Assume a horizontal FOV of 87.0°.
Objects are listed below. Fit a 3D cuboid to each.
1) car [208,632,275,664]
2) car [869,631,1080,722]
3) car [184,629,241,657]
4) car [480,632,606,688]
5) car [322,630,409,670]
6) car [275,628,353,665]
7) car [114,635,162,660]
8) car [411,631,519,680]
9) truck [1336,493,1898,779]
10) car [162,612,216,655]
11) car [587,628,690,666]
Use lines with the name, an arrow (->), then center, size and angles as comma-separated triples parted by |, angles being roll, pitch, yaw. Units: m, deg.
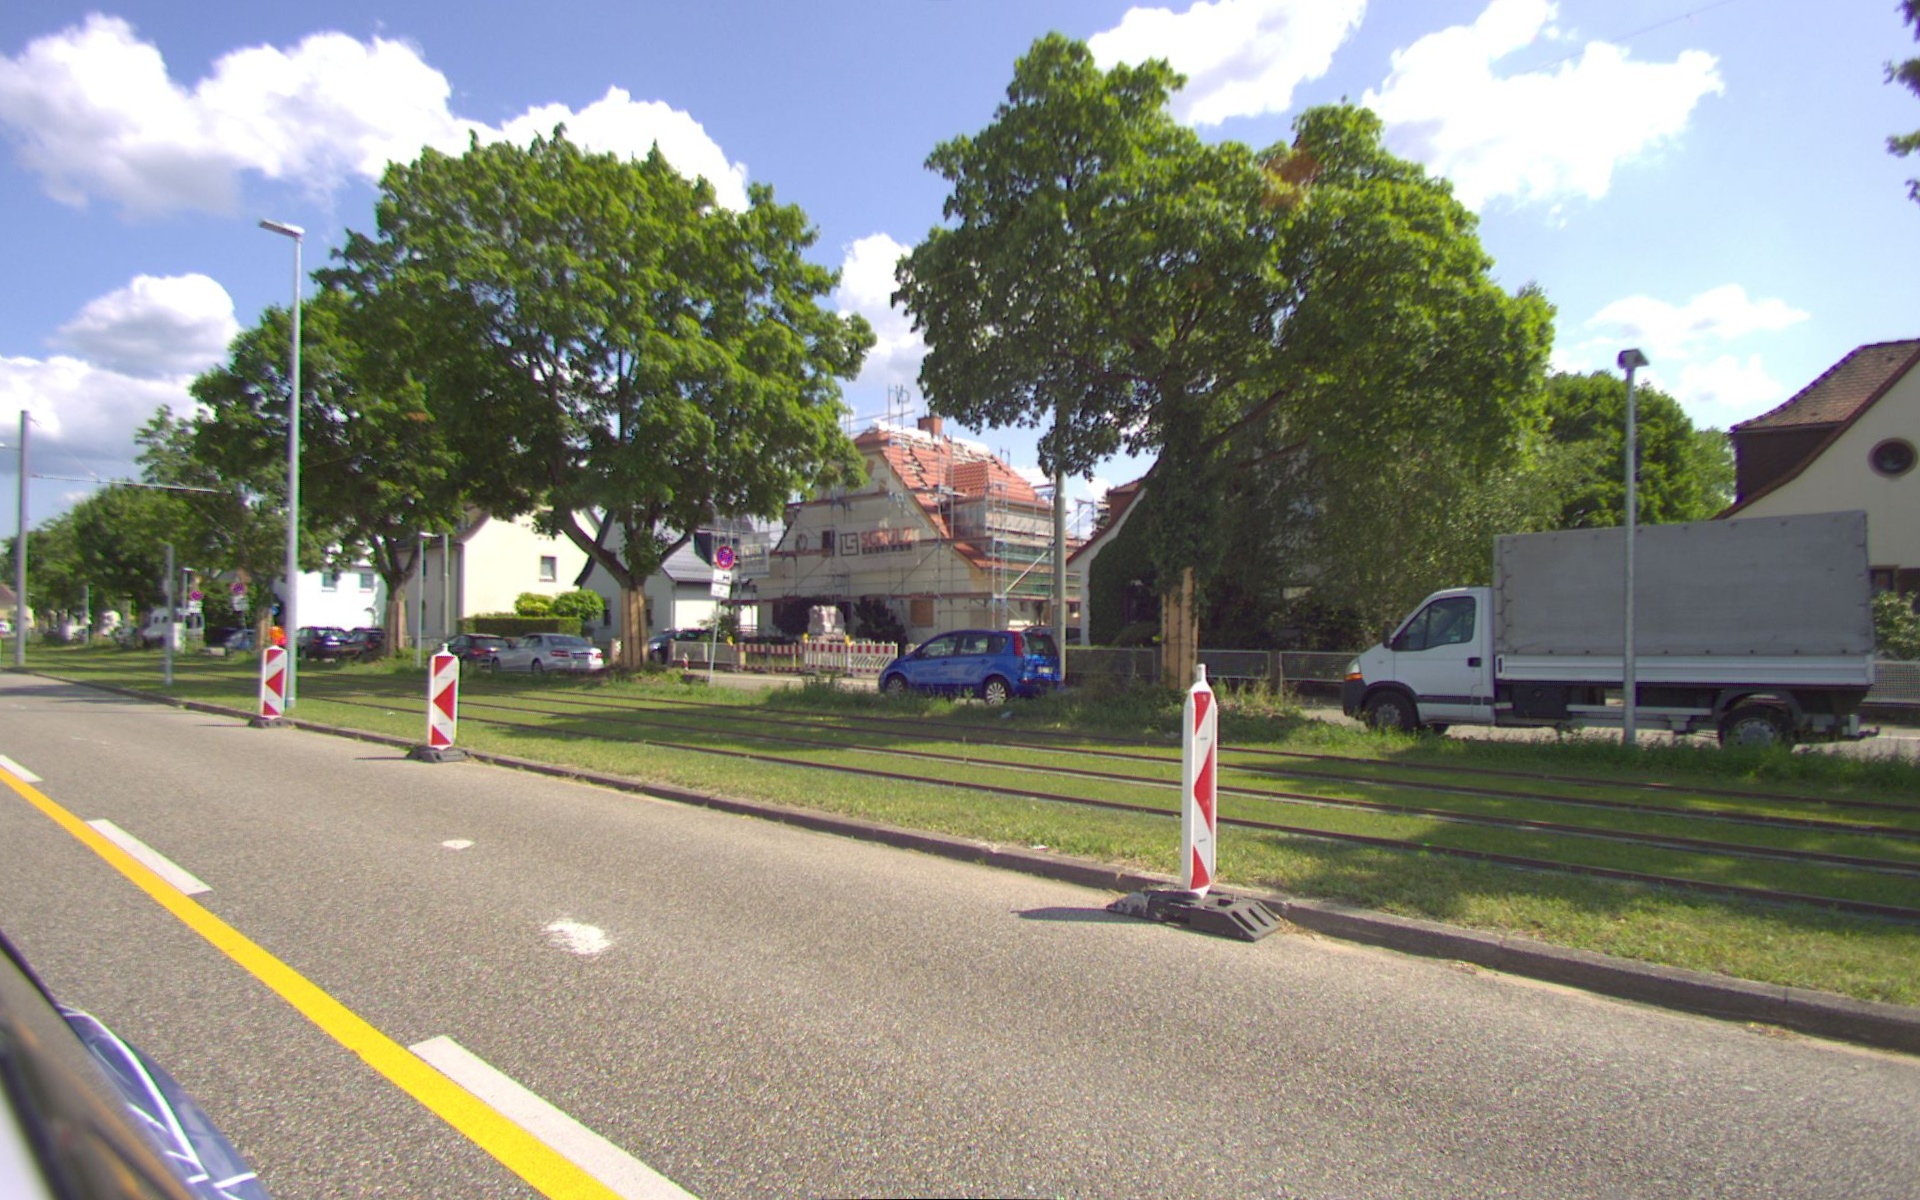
car -> -37.643, 2.471, 52.983 | 4.603, 1.623, 1.733 | -2, -3, 40
car -> 0.221, 1.444, 20.198 | 4.047, 1.623, 1.733 | -2, -3, 40
car -> -44.643, 2.556, 60.408 | 4.603, 1.623, 1.733 | -2, -3, 40
car -> -13.171, 1.832, 31.864 | 4.603, 1.623, 1.733 | -2, -3, 40
car -> -25.181, 2.076, 42.831 | 4.603, 1.623, 1.733 | -2, -3, 40
car -> -29.600, 2.101, 46.334 | 4.603, 1.623, 1.733 | -2, -3, 40
car -> -57.021, 3.271, 70.154 | 4.603, 1.623, 1.733 | -2, -3, 40
car -> -17.612, 1.916, 35.935 | 4.603, 1.623, 1.733 | -2, -3, 40
truck -> 8.276, 0.465, 13.358 | 5.871, 3.010, 1.982 | -2, -3, 41
car -> -48.844, 2.110, 64.112 | 4.603, 2.636, 1.733 | -2, -3, 40
car -> -14.080, 2.049, 44.511 | 1.756, 1.623, 3.995 | -2, -3, 41
